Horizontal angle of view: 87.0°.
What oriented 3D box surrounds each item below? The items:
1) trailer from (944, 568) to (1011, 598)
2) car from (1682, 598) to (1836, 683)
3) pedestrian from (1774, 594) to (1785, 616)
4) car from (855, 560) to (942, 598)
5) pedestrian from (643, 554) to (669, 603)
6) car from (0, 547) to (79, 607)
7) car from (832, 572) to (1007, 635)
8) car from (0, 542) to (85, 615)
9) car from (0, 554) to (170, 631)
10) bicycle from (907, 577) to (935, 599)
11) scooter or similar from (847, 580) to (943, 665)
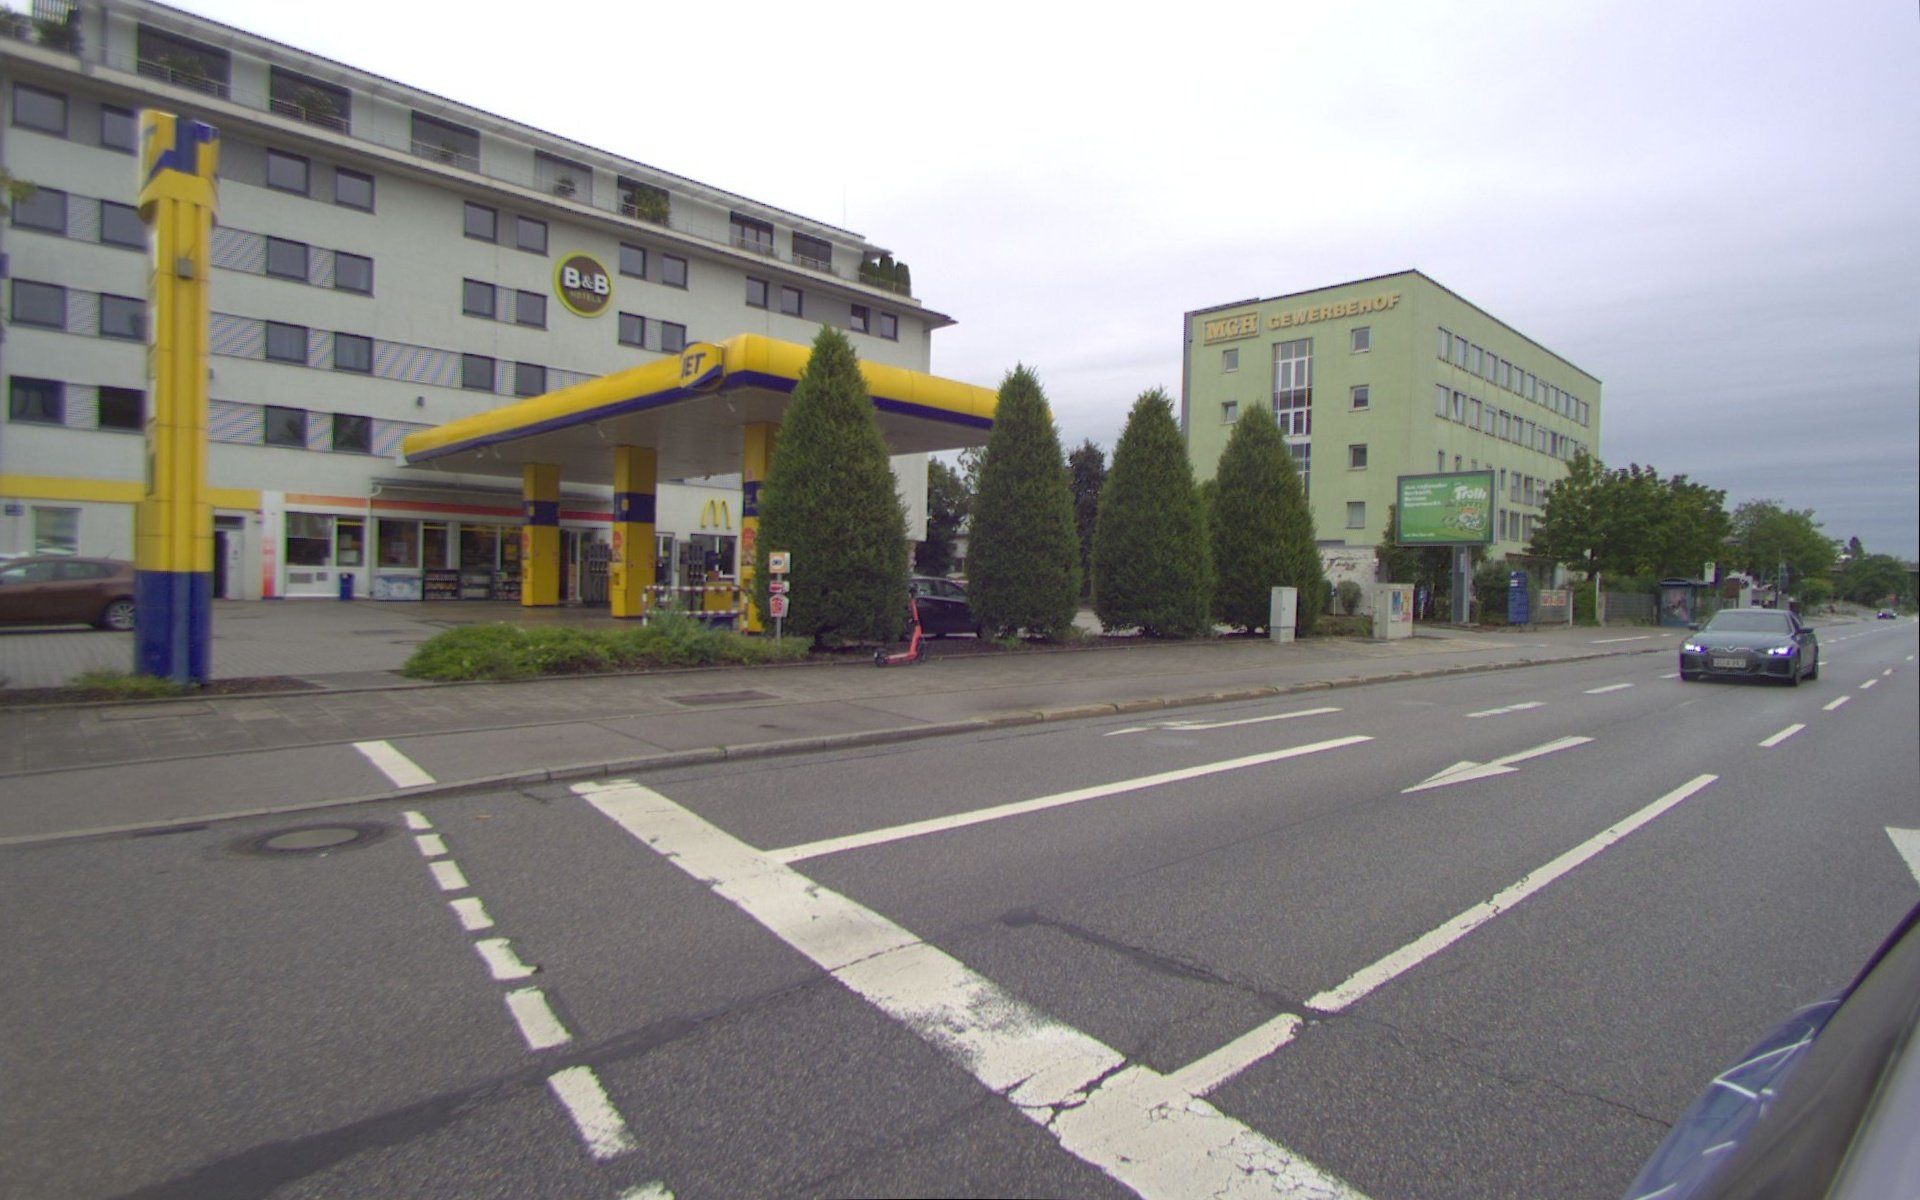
[{"bbox_3d":[0.979,-0.949,58.383,1.609,1.671,3.799,0,0,-45],"label":"trailer"},{"bbox_3d":[16.354,0.738,20.626,4.366,1.526,1.913,0,0,-44],"label":"car"},{"bbox_3d":[69.803,0.437,86.211,0.681,1.844,0.677,0,0,45],"label":"pedestrian"},{"bbox_3d":[-2.801,-0.966,45.675,3.989,1.607,1.679,2,1,45],"label":"car"},{"bbox_3d":[-11.012,-0.774,36.612,0.706,1.750,0.634,0,0,42],"label":"pedestrian"},{"bbox_3d":[-25.003,-0.578,25.510,4.125,1.496,1.904,0,0,-45],"label":"car"},{"bbox_3d":[-0.870,0.057,23.554,1.795,1.349,3.936,1,0,44],"label":"car"},{"bbox_3d":[-20.796,-0.454,21.039,3.911,1.505,1.625,0,0,-43],"label":"car"},{"bbox_3d":[-17.934,-0.149,19.249,1.693,1.401,4.307,0,0,36],"label":"car"},{"bbox_3d":[-2.028,-0.633,52.874,0.447,1.130,1.851,0,0,36],"label":"bicycle"},{"bbox_3d":[-0.994,0.330,15.680,1.517,1.257,0.357,0,4,-40],"label":"scooter or similar"}]
